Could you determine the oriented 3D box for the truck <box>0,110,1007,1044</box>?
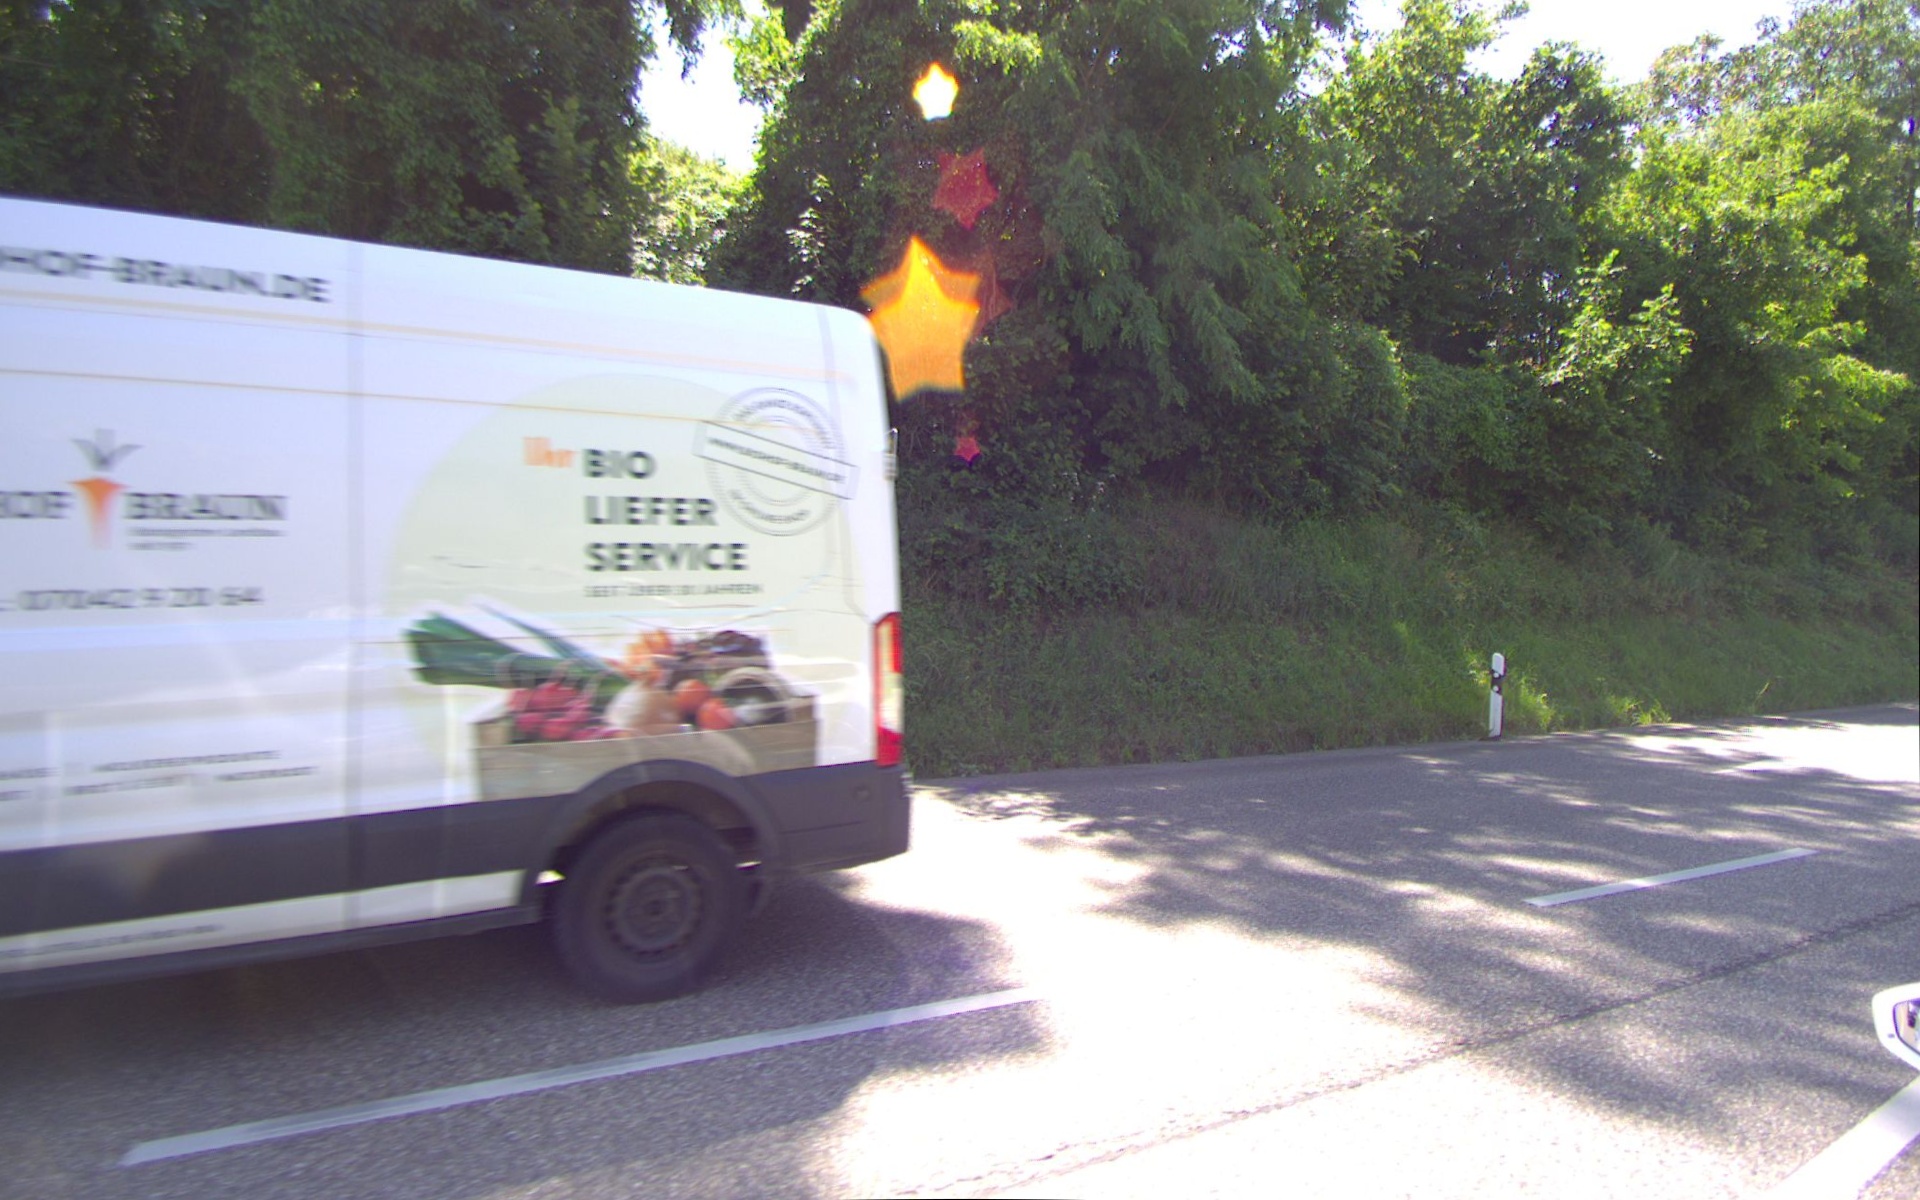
[{"bbox_3d":[-2.916,-0.064,4.012,5.903,2.723,2.046,2,0,-26],"label":"truck"}]
